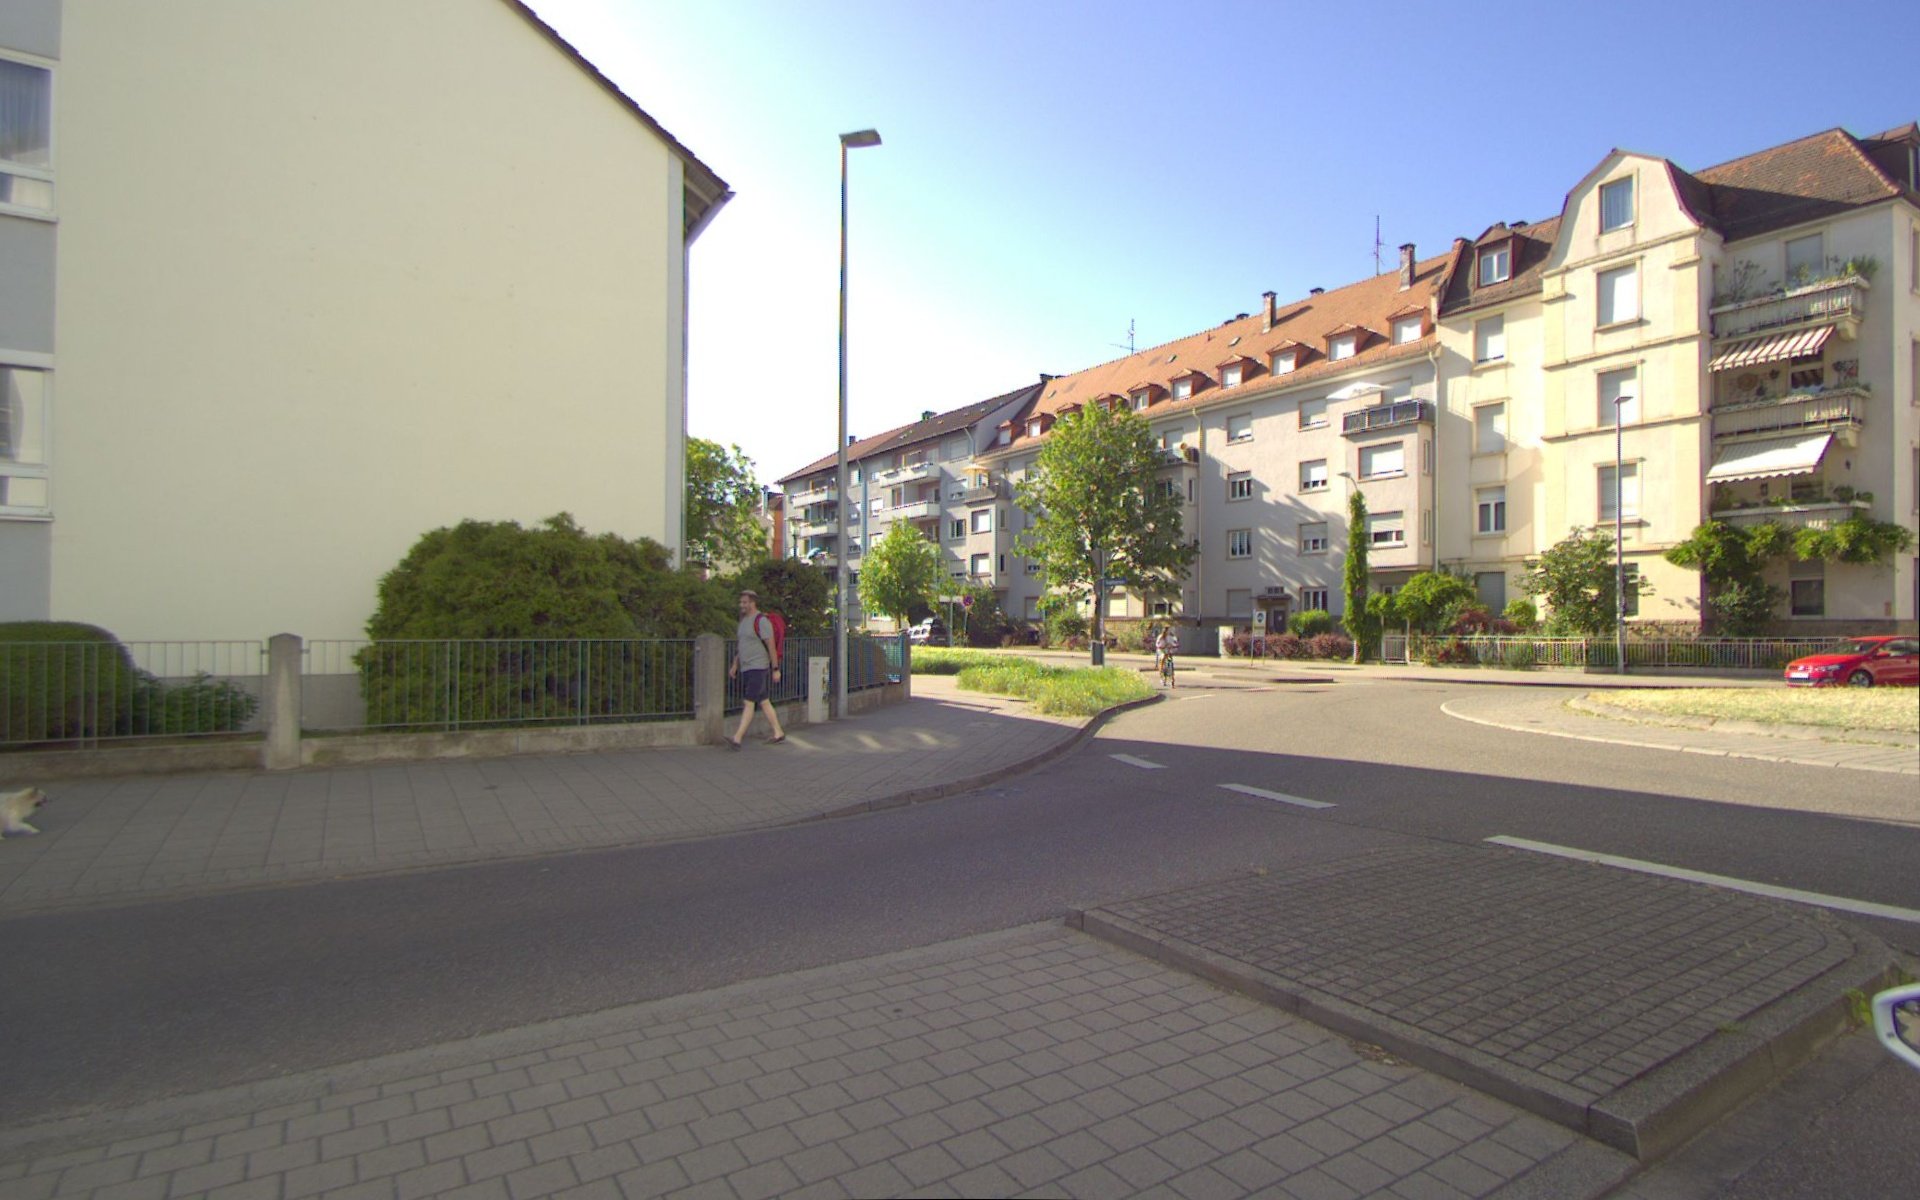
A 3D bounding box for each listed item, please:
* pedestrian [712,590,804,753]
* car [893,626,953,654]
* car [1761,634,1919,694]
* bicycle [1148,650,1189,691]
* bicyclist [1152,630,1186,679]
[{"bbox_3d":[-2.232,0.770,11.241,0.803,1.728,0.997,1,0,0],"label":"pedestrian"},{"bbox_3d":[-2.211,2.331,59.057,1.831,1.559,3.965,1,-2,-32],"label":"car"},{"bbox_3d":[23.056,1.605,25.600,3.922,1.400,1.717,-1,-2,-2],"label":"car"},{"bbox_3d":[5.865,1.965,28.361,0.795,1.028,2.211,1,-1,3],"label":"bicycle"},{"bbox_3d":[5.873,1.528,28.253,0.795,1.329,0.826,1,0,3],"label":"bicyclist"}]
